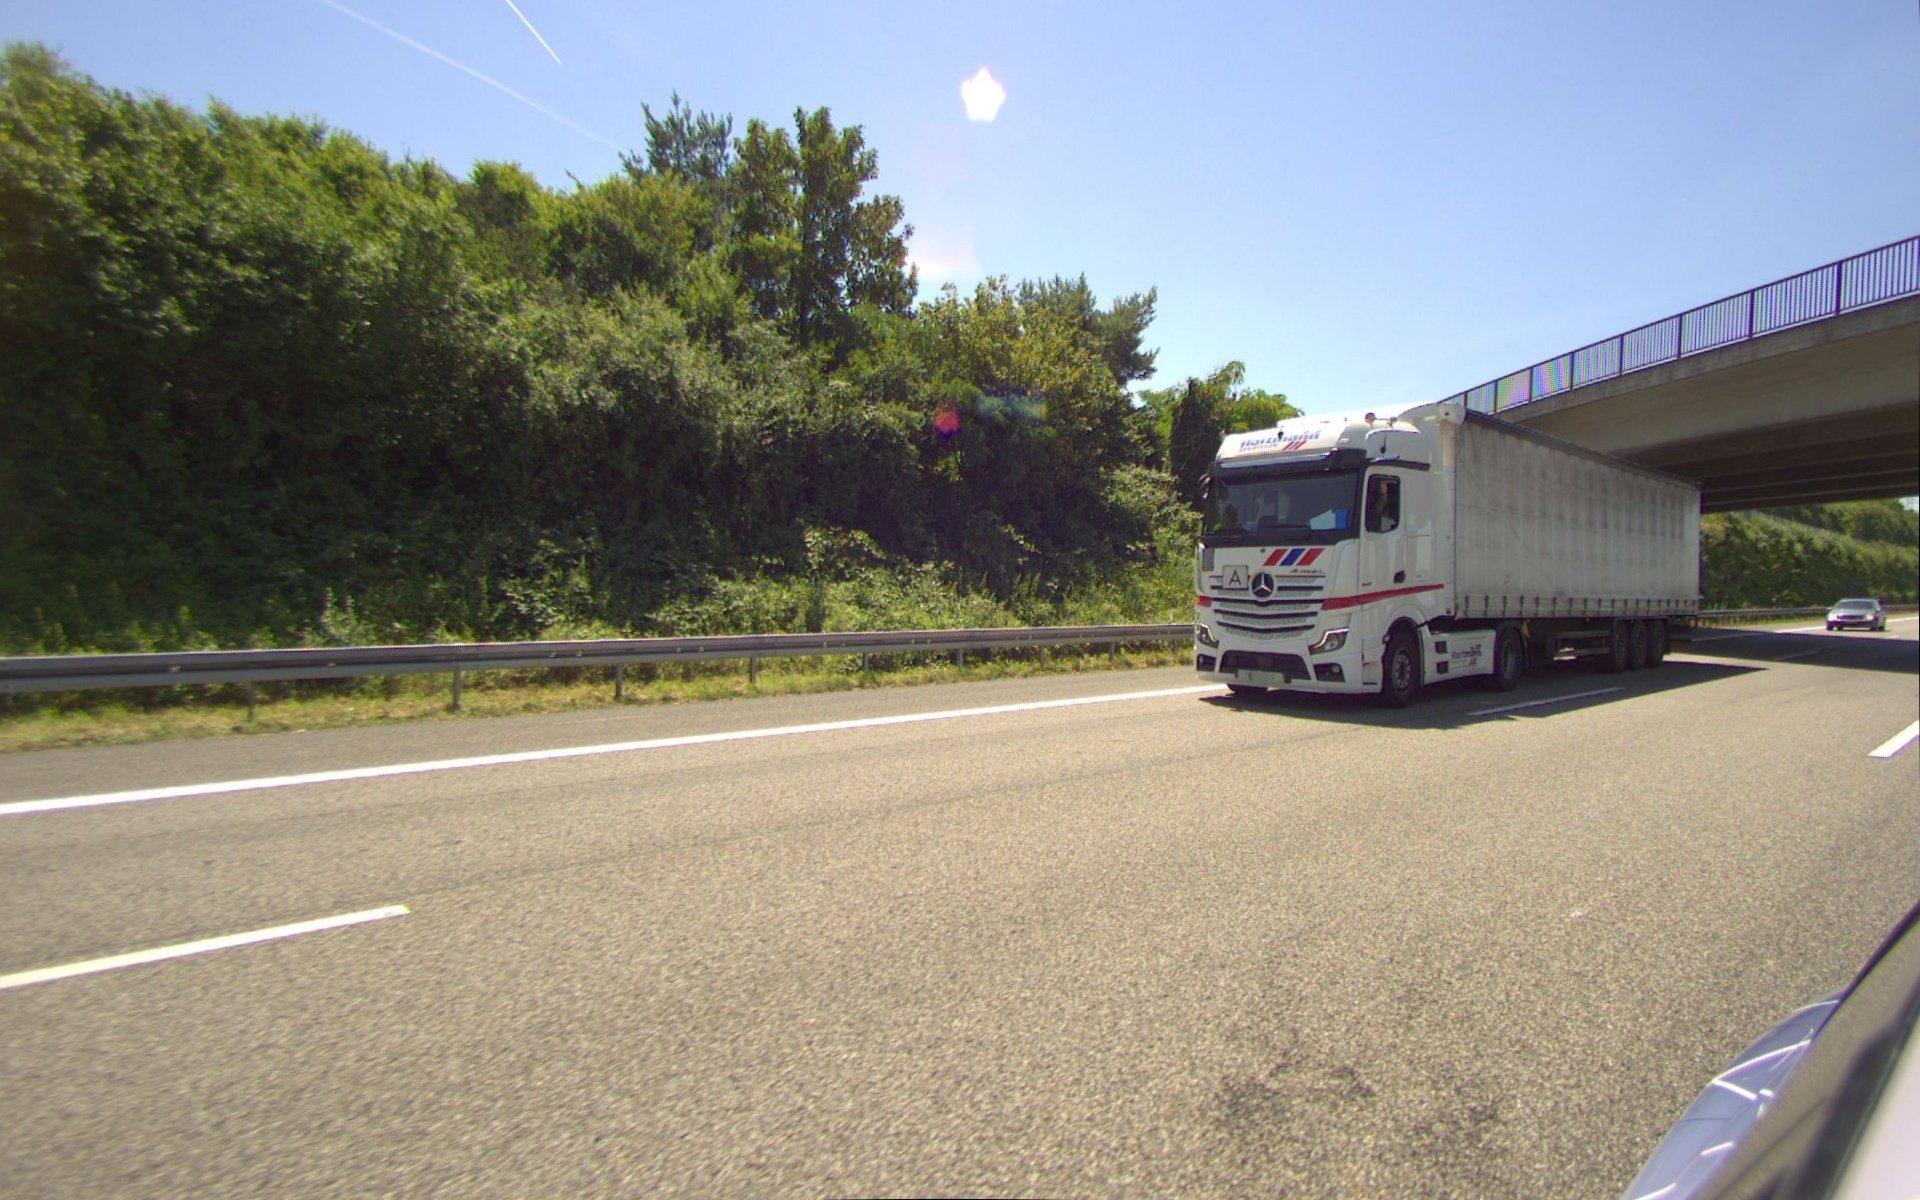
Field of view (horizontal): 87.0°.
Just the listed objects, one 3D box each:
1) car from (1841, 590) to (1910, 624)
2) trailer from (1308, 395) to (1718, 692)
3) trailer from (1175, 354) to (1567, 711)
[{"bbox_3d":[40.969,0.281,45.246,4.480,1.429,1.838,0,1,-42],"label":"car"},{"bbox_3d":[11.321,-0.858,19.498,12.962,4.154,2.733,0,1,-42],"label":"trailer"},{"bbox_3d":[6.335,-0.839,15.040,6.672,4.154,2.717,0,1,-42],"label":"trailer"}]
